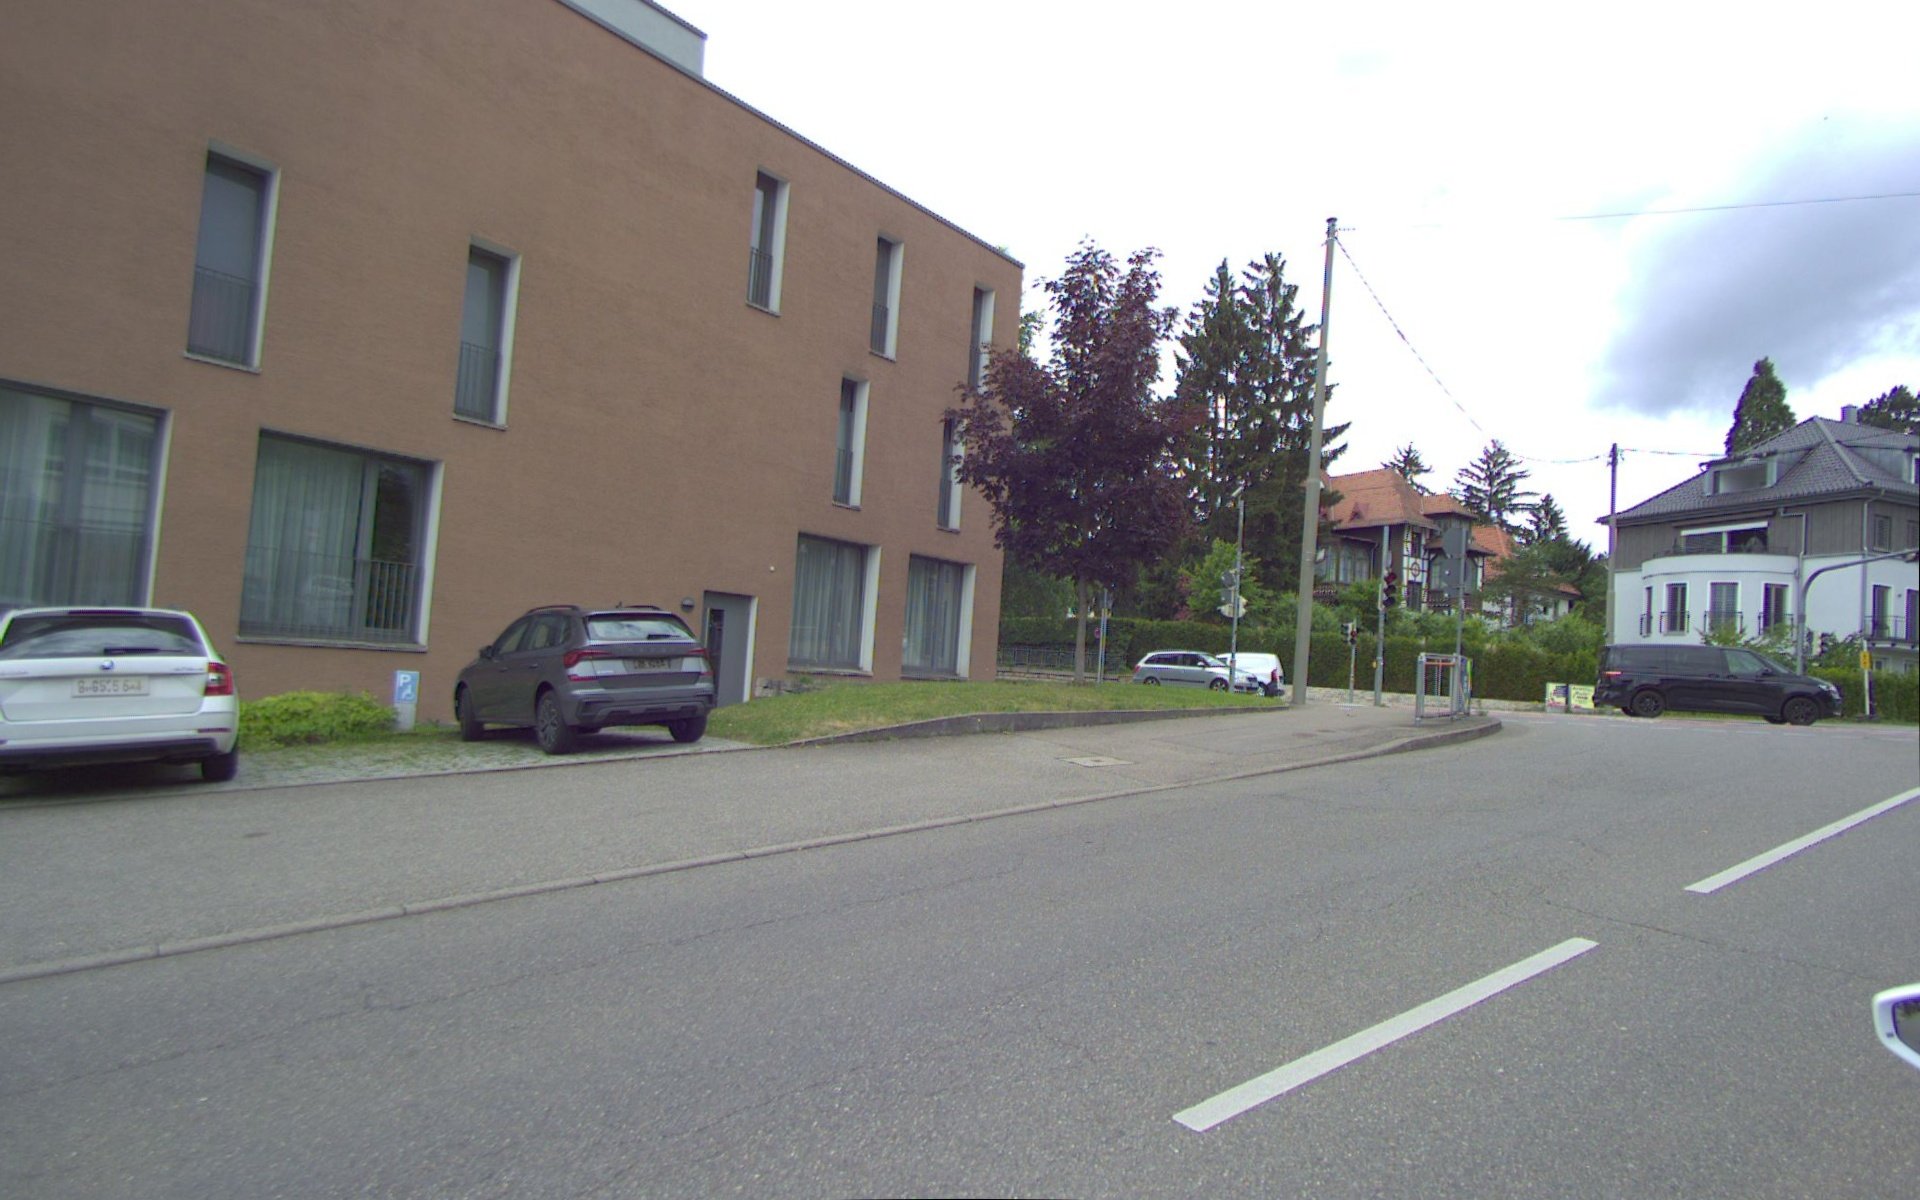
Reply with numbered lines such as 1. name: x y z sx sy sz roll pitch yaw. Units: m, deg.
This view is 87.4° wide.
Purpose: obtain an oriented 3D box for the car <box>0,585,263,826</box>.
1. car: -7.557 0.798 8.777 1.998 1.644 4.225 3 -4 -40

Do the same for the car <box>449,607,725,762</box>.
1. car: -4.424 0.873 11.632 1.720 1.483 3.724 1 -2 -43

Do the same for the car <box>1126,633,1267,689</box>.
1. car: 7.704 1.935 32.897 4.127 1.496 1.707 2 1 36

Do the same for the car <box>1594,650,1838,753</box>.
1. car: 18.769 2.454 25.268 4.699 2.040 1.994 2 1 34

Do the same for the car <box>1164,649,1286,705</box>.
1. car: 10.315 2.958 39.115 4.272 1.881 1.998 1 -1 26
